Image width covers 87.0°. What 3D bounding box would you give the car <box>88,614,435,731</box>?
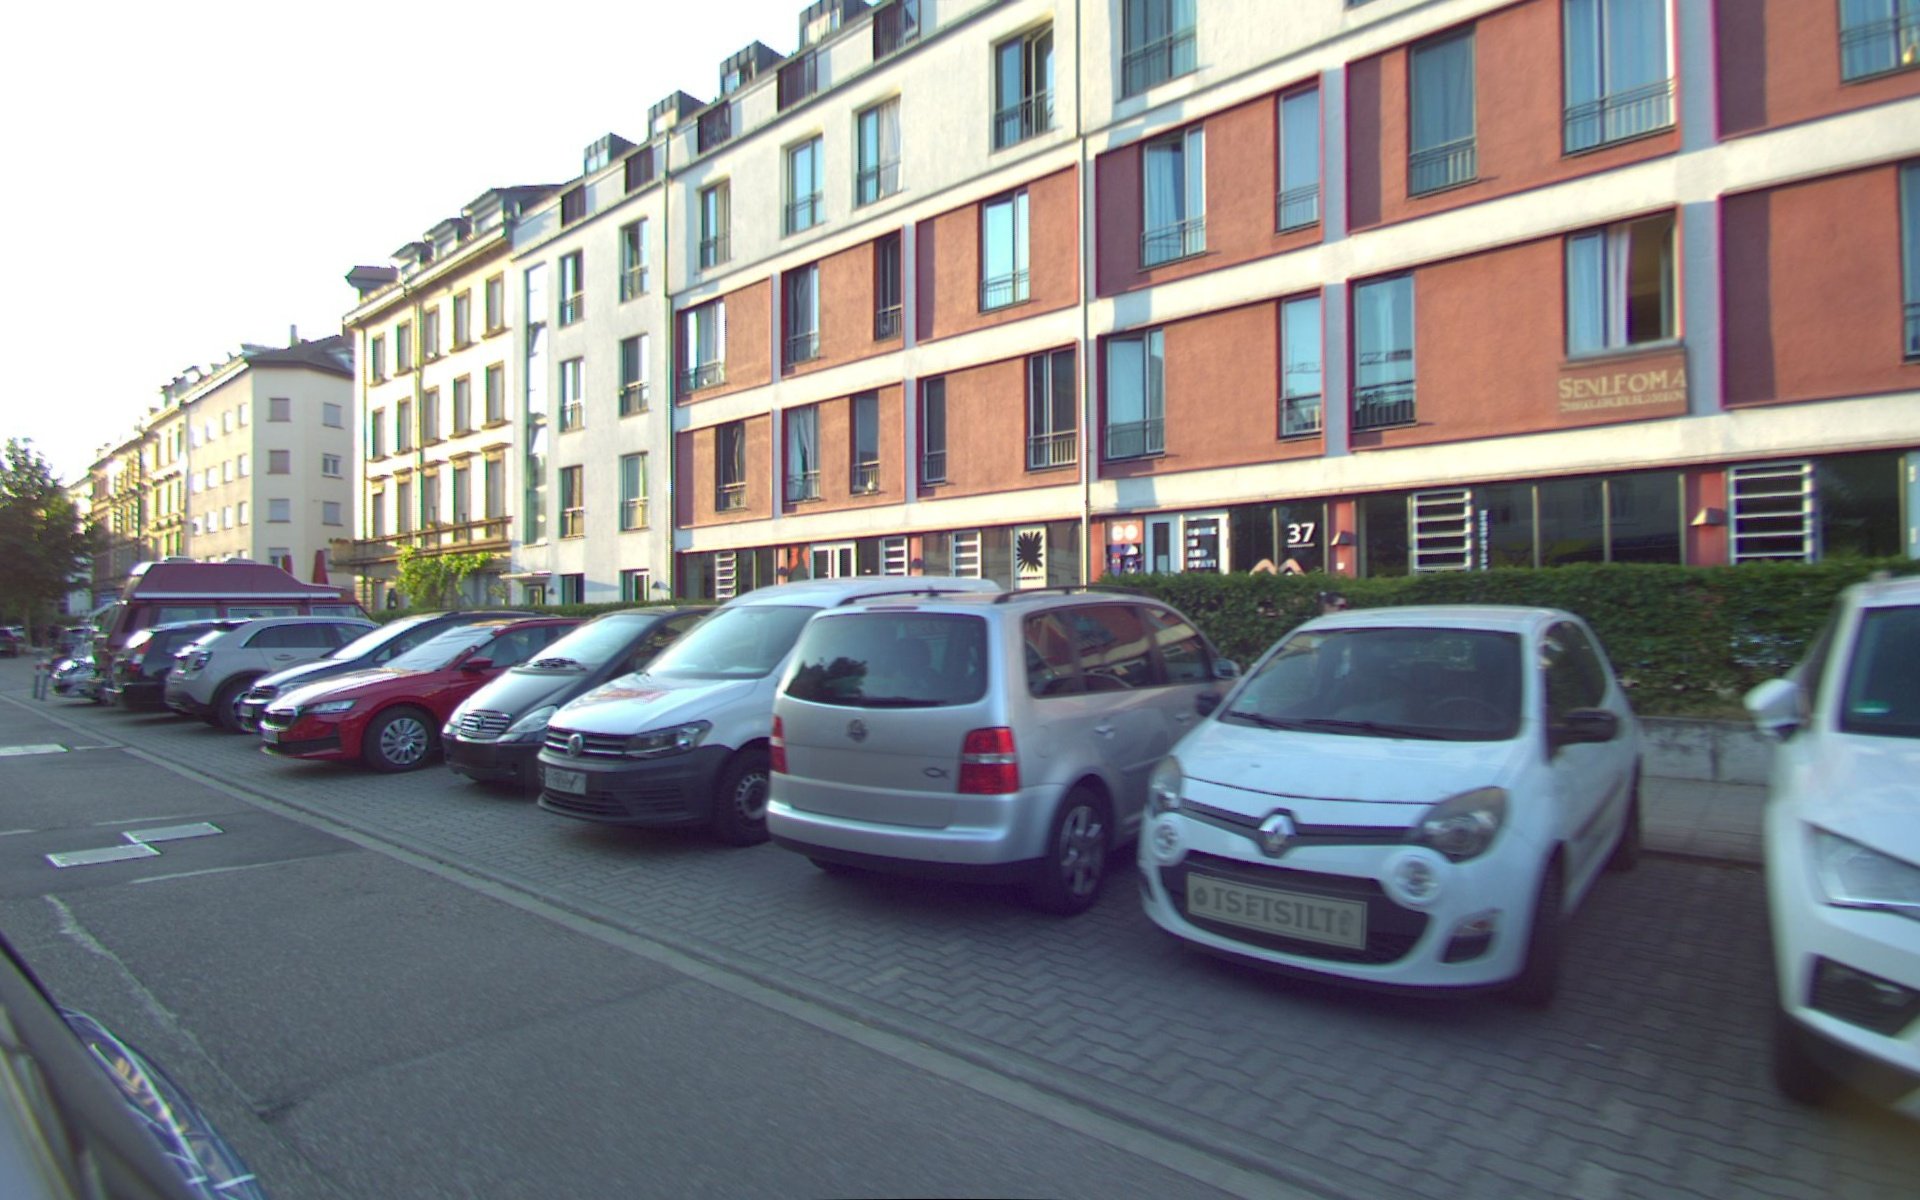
[{"bbox_3d":[-11.027,1.048,16.253,1.704,1.536,4.292,-2,0,40],"label":"car"}]

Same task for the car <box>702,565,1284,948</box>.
[{"bbox_3d":[0.532,0.707,6.477,2.046,1.601,3.957,-1,-2,32],"label":"car"}]

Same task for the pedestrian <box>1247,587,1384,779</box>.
[{"bbox_3d":[2.996,0.659,8.511,0.830,1.499,0.849,-2,-1,40],"label":"pedestrian"}]

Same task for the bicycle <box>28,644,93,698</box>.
[{"bbox_3d":[-19.617,1.526,22.051,2.414,1.061,0.794,-2,-1,42],"label":"bicycle"}]

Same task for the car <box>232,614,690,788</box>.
[{"bbox_3d":[-5.308,0.940,11.224,1.787,1.505,4.218,-1,-1,41],"label":"car"}]

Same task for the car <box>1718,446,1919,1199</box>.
[{"bbox_3d":[3.915,0.547,3.392,1.901,1.736,4.142,-2,-2,41],"label":"car"}]

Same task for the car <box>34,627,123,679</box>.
[{"bbox_3d":[-29.104,1.705,33.379,3.734,1.534,1.577,-1,1,39],"label":"car"}]

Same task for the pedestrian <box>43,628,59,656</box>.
[{"bbox_3d":[-51.193,2.370,56.989,0.638,1.545,0.636,-2,-2,43],"label":"pedestrian"}]

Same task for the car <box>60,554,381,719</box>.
[{"bbox_3d":[-13.086,0.588,18.131,1.931,2.576,4.355,-2,-1,41],"label":"car"}]

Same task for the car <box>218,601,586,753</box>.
[{"bbox_3d":[-7.111,0.872,13.167,1.699,1.629,3.844,-2,0,43],"label":"car"}]

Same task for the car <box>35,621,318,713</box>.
[{"bbox_3d":[-14.977,1.196,19.547,1.800,1.427,3.944,-1,0,34],"label":"car"}]

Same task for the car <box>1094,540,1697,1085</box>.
[{"bbox_3d":[2.493,0.681,5.152,1.795,1.630,3.947,-1,-2,39],"label":"car"}]

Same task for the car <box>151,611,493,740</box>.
[{"bbox_3d":[-9.187,0.979,14.789,1.755,1.551,3.906,-2,0,42],"label":"car"}]

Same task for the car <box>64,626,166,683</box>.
[{"bbox_3d":[-25.202,1.575,30.167,3.579,1.522,1.658,-1,0,39],"label":"car"}]

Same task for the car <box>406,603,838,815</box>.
[{"bbox_3d":[-3.039,0.847,9.613,1.782,1.574,3.497,-2,-1,38],"label":"car"}]

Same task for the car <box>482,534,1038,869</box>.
[{"bbox_3d":[-1.288,0.628,8.025,1.894,1.910,4.139,-2,-2,37],"label":"car"}]
